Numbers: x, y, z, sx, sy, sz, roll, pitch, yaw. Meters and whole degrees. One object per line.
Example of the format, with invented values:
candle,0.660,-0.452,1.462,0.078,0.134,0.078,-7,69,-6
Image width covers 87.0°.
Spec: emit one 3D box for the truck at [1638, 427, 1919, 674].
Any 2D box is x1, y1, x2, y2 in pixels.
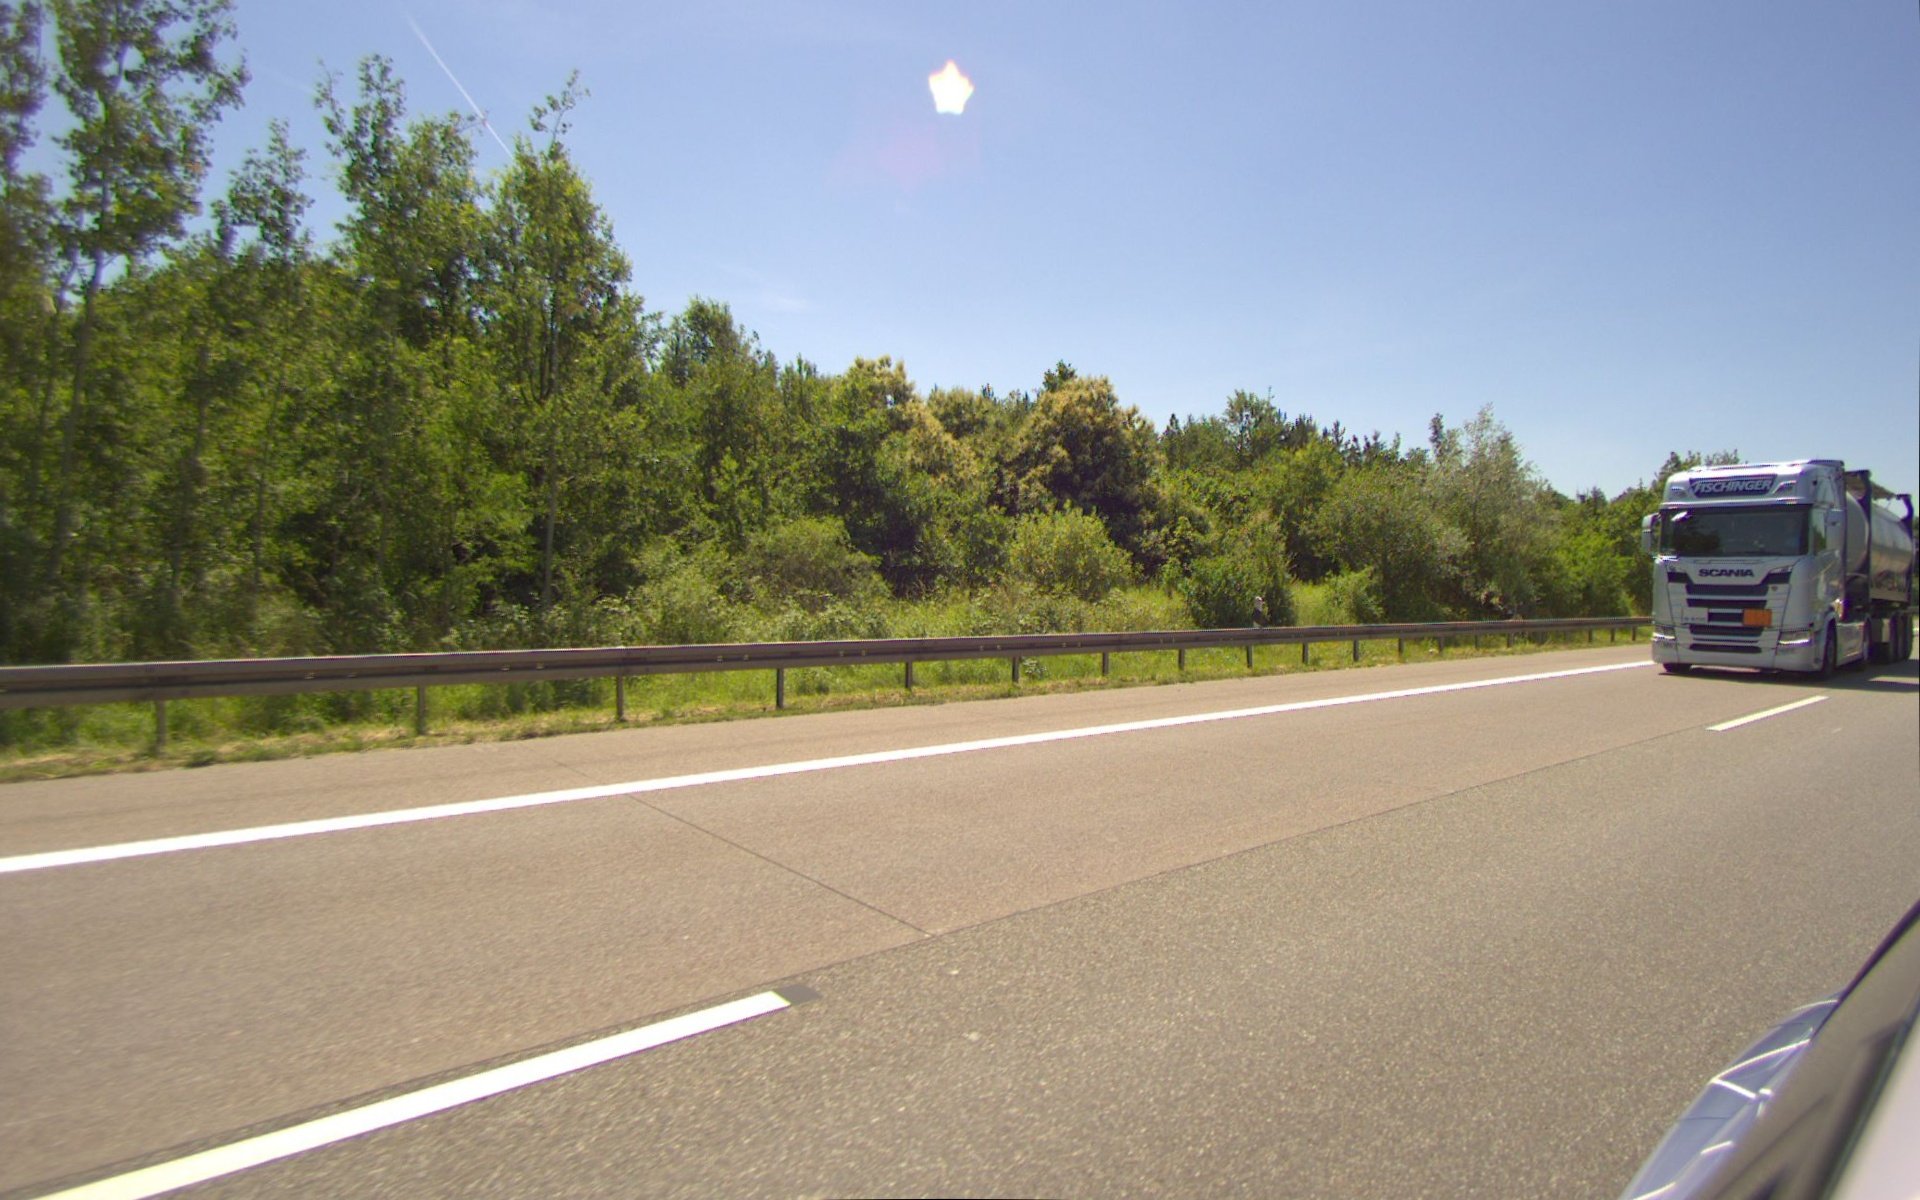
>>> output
truck,18.613,-0.889,22.129,13.119,4.097,2.804,-1,0,-40
